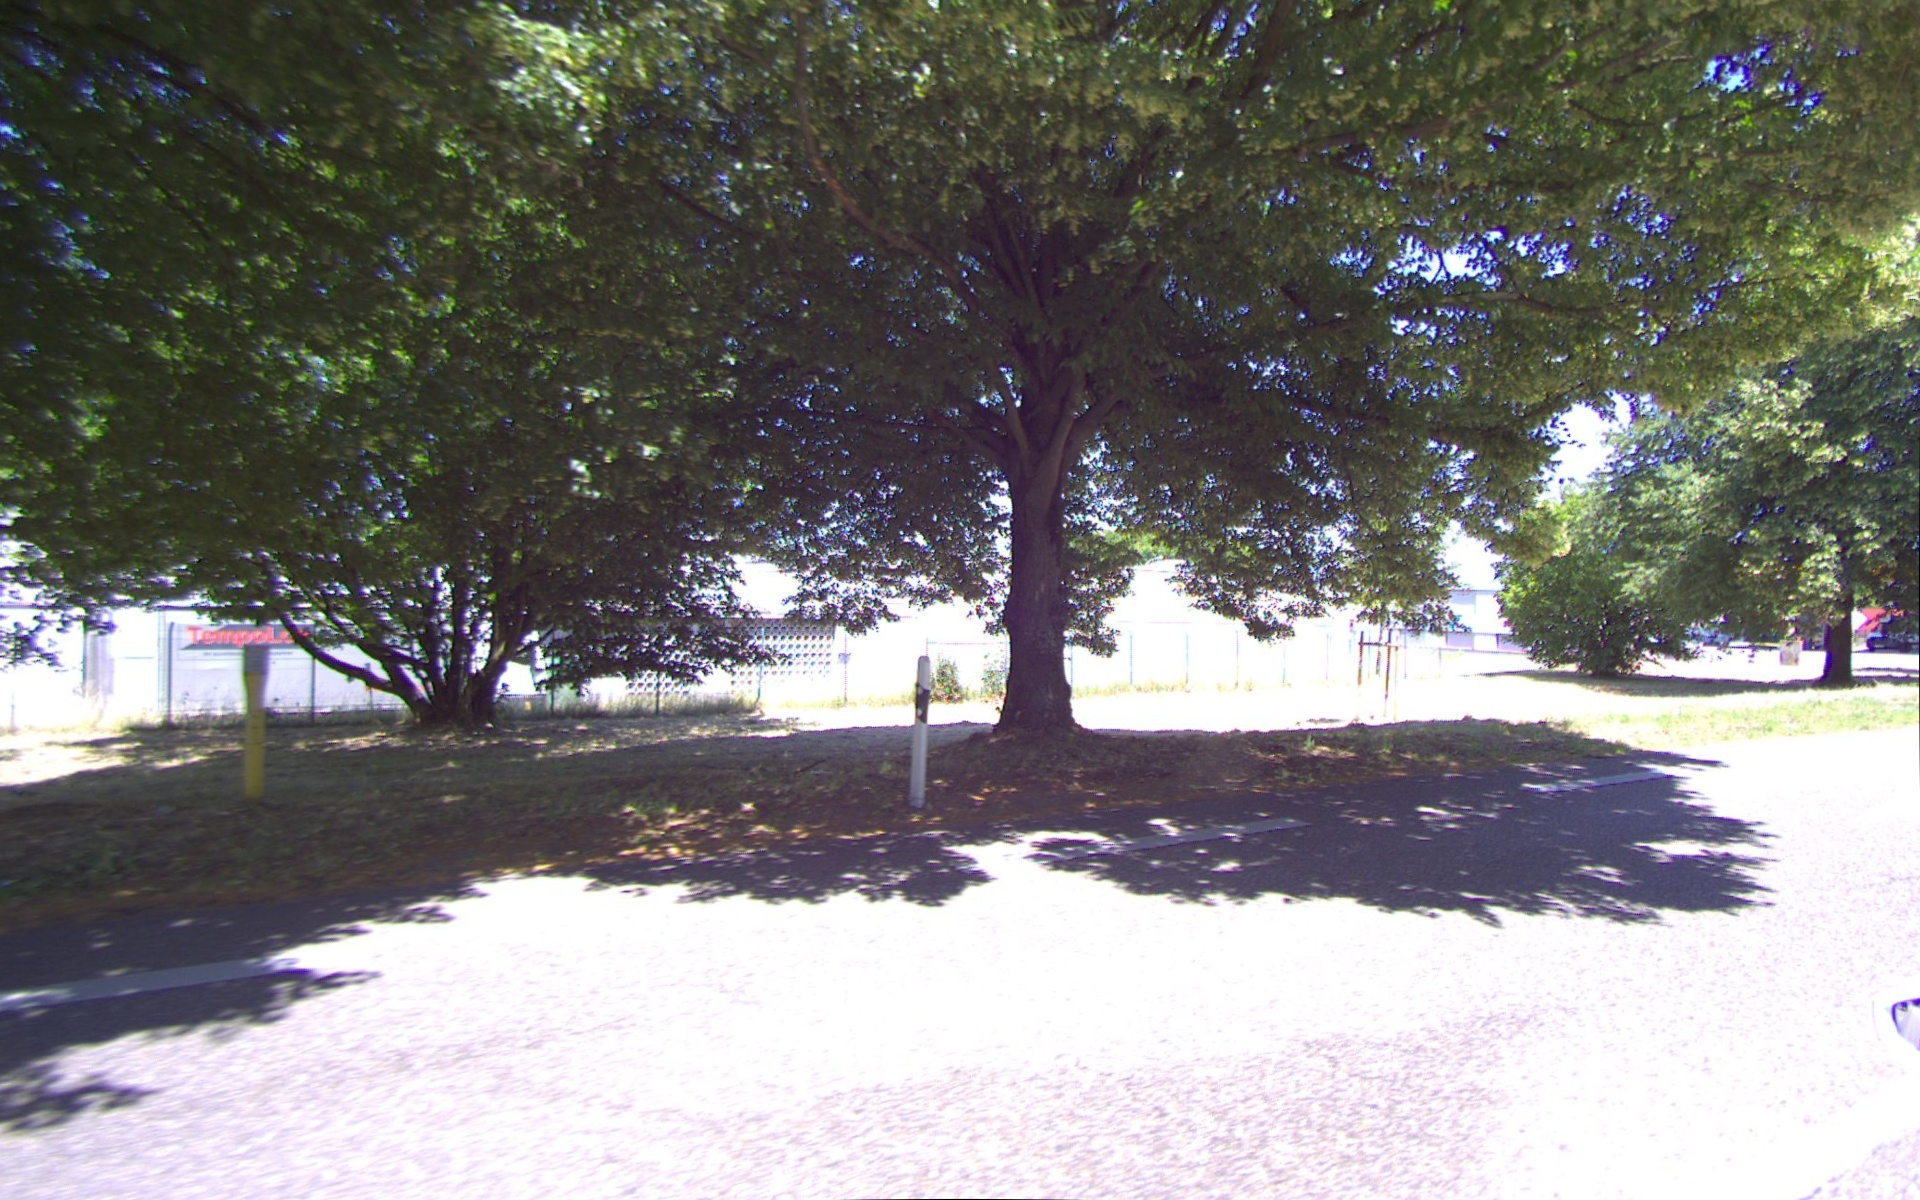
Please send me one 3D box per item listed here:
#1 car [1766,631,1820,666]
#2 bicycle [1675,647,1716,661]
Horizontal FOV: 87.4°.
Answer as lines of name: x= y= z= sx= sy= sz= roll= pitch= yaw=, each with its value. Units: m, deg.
car: x=40.672 y=2.338 z=49.024 sx=1.718 sy=1.606 sz=3.975 roll=0 pitch=-1 yaw=44
bicycle: x=37.978 y=2.784 z=51.892 sx=0.420 sy=0.655 sz=1.661 roll=2 pitch=-1 yaw=-35
